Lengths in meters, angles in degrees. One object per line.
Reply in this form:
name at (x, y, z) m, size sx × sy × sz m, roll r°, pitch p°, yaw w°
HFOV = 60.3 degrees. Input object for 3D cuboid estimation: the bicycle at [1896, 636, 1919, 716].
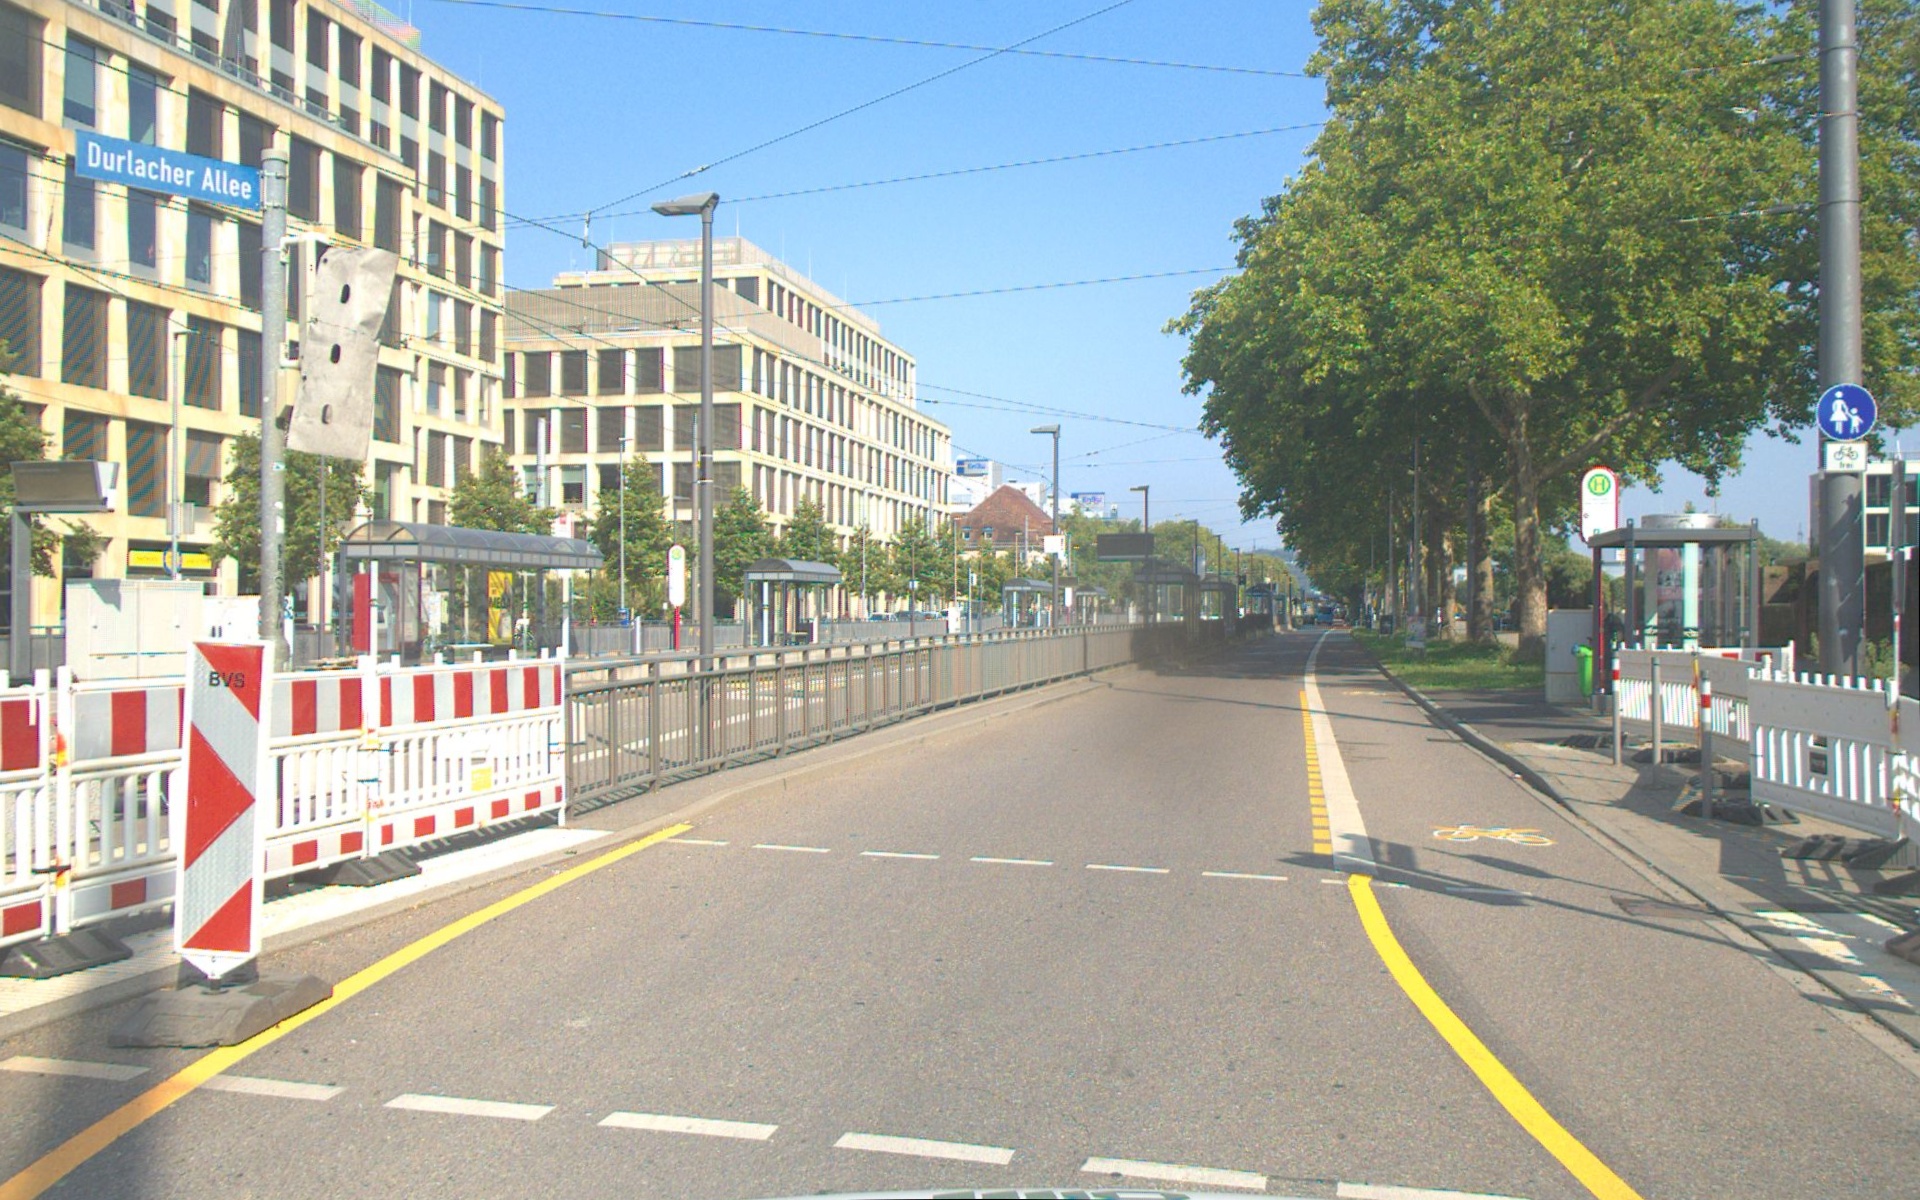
bicycle at (13.366, 1.038, 22.310) m, size 0.702 × 1.060 × 1.904 m, roll 0°, pitch 0°, yaw 10°

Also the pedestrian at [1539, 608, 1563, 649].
pedestrian at (24.243, 1.158, 67.876) m, size 0.789 × 1.665 × 0.948 m, roll -2°, pitch -1°, yaw 13°

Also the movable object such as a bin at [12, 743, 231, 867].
movable object such as a bin at (-5.664, 1.356, 11.160) m, size 1.479 × 0.664 × 0.699 m, roll 0°, pitch 0°, yaw 34°

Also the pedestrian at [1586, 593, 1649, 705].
pedestrian at (10.310, 0.753, 25.946) m, size 0.675 × 1.726 × 0.647 m, roll 0°, pitch -1°, yaw -8°

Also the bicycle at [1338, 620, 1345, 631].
bicycle at (40.674, 2.679, 176.149) m, size 0.700 × 1.127 × 2.511 m, roll 1°, pitch -1°, yaw 13°

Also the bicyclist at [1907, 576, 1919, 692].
bicyclist at (13.368, 0.457, 22.345) m, size 0.702 × 1.570 × 0.956 m, roll 0°, pitch 0°, yaw 10°

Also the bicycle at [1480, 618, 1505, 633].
bicycle at (37.130, 1.778, 115.329) m, size 1.621 × 0.986 × 0.506 m, roll -2°, pitch -1°, yaw 19°

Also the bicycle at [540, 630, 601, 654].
bicycle at (-16.495, 1.763, 70.095) m, size 2.381 × 1.003 × 0.822 m, roll -1°, pitch -1°, yaw 12°

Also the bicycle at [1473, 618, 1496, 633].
bicycle at (37.498, 1.823, 118.295) m, size 0.499 × 0.986 × 1.646 m, roll -1°, pitch -1°, yaw -28°

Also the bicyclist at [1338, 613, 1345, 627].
bicyclist at (40.661, 2.173, 176.078) m, size 0.690 × 1.486 × 1.010 m, roll 1°, pitch -1°, yaw 13°

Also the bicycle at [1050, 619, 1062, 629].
bicycle at (6.811, 1.724, 117.576) m, size 0.467 × 0.674 × 1.614 m, roll -1°, pitch -1°, yaw 17°

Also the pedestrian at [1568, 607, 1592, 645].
pedestrian at (26.706, 1.125, 71.284) m, size 0.789 × 1.632 × 0.948 m, roll -2°, pitch -1°, yaw 13°
